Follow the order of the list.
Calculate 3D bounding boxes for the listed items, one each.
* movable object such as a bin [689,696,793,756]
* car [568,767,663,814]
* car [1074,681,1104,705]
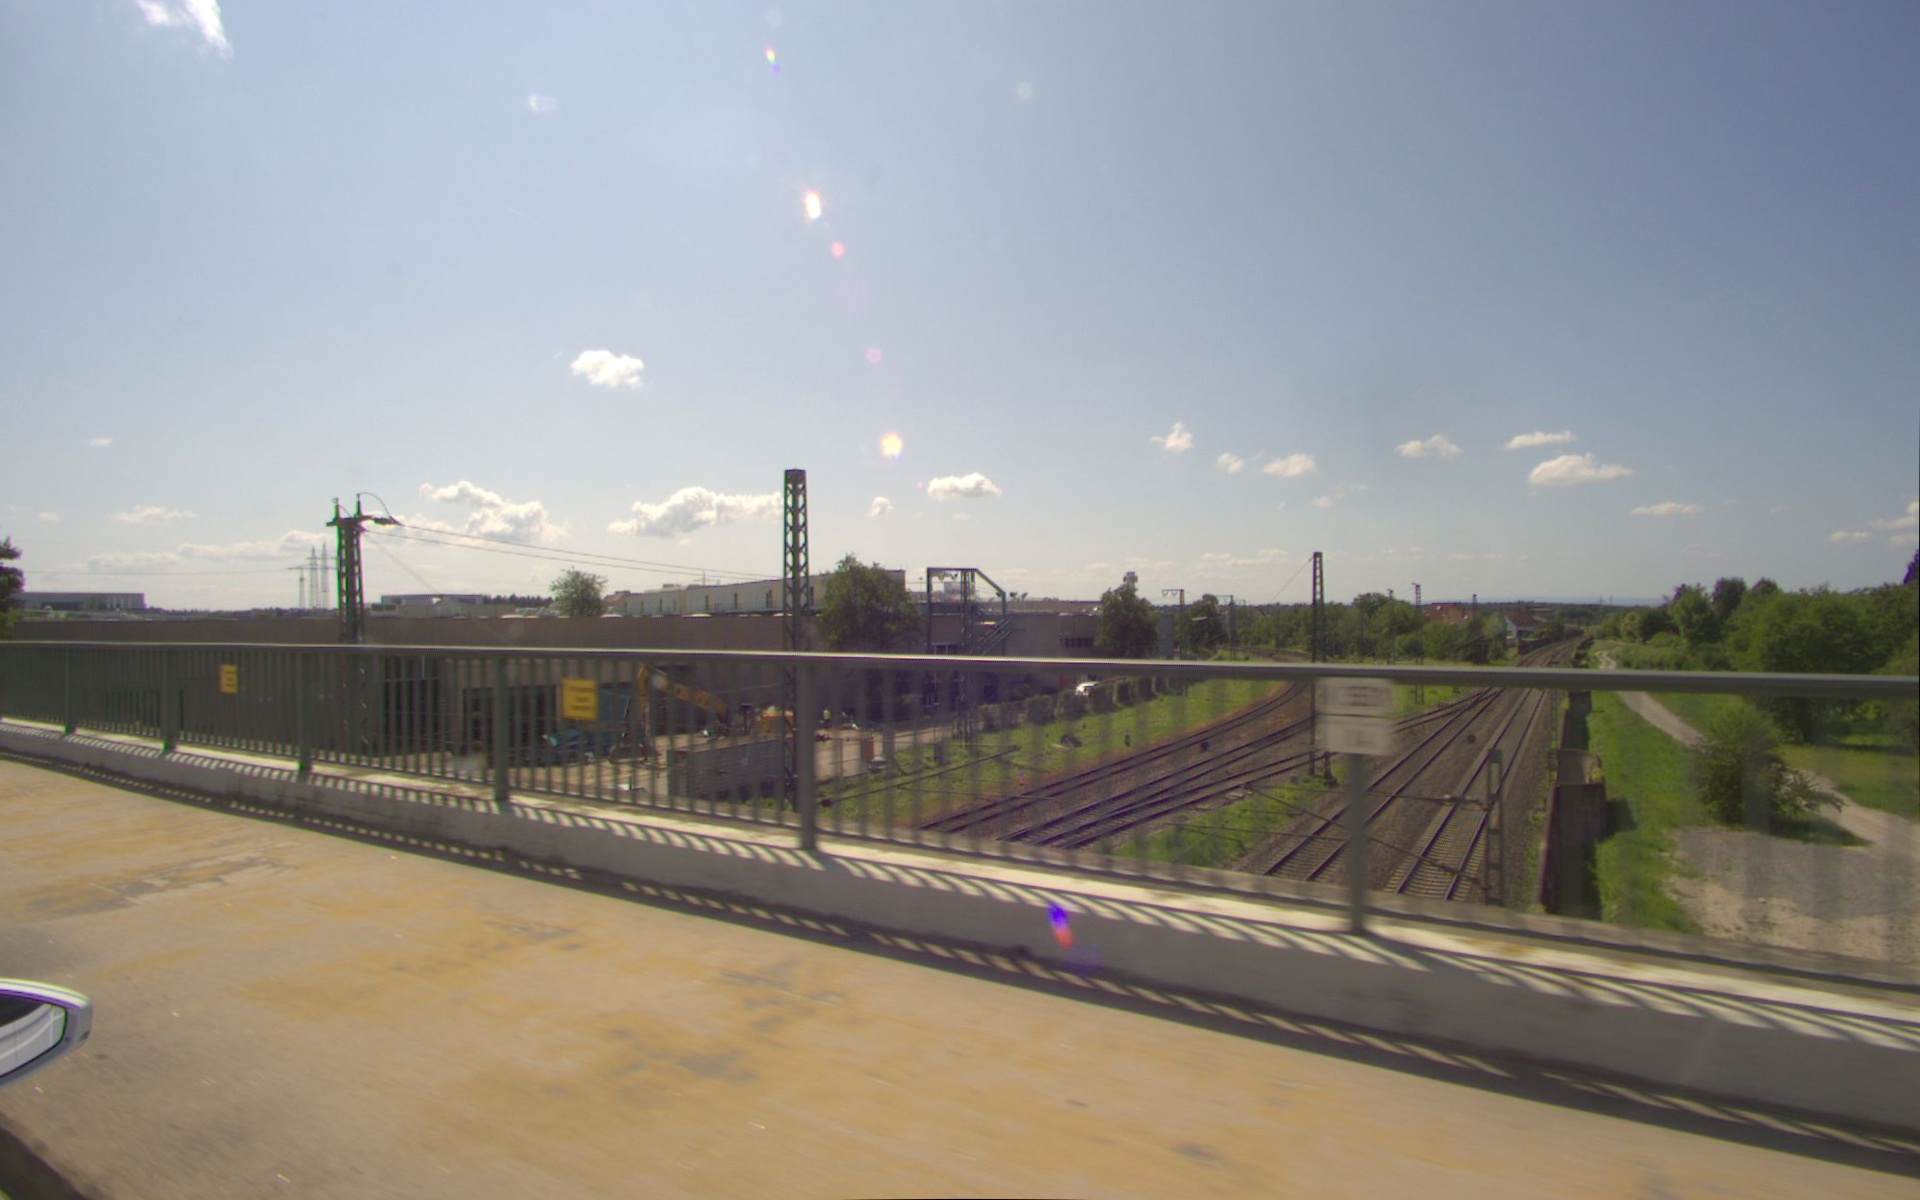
[{"bbox_3d":[-14.771,8.420,67.547,6.134,3.334,3.231,1,0,-30],"label":"movable object such as a bin"},{"bbox_3d":[-15.778,8.657,45.795,4.187,1.614,1.990,-1,-5,35],"label":"car"},{"bbox_3d":[13.309,9.557,103.445,1.967,2.040,3.987,-1,0,25],"label":"car"}]
